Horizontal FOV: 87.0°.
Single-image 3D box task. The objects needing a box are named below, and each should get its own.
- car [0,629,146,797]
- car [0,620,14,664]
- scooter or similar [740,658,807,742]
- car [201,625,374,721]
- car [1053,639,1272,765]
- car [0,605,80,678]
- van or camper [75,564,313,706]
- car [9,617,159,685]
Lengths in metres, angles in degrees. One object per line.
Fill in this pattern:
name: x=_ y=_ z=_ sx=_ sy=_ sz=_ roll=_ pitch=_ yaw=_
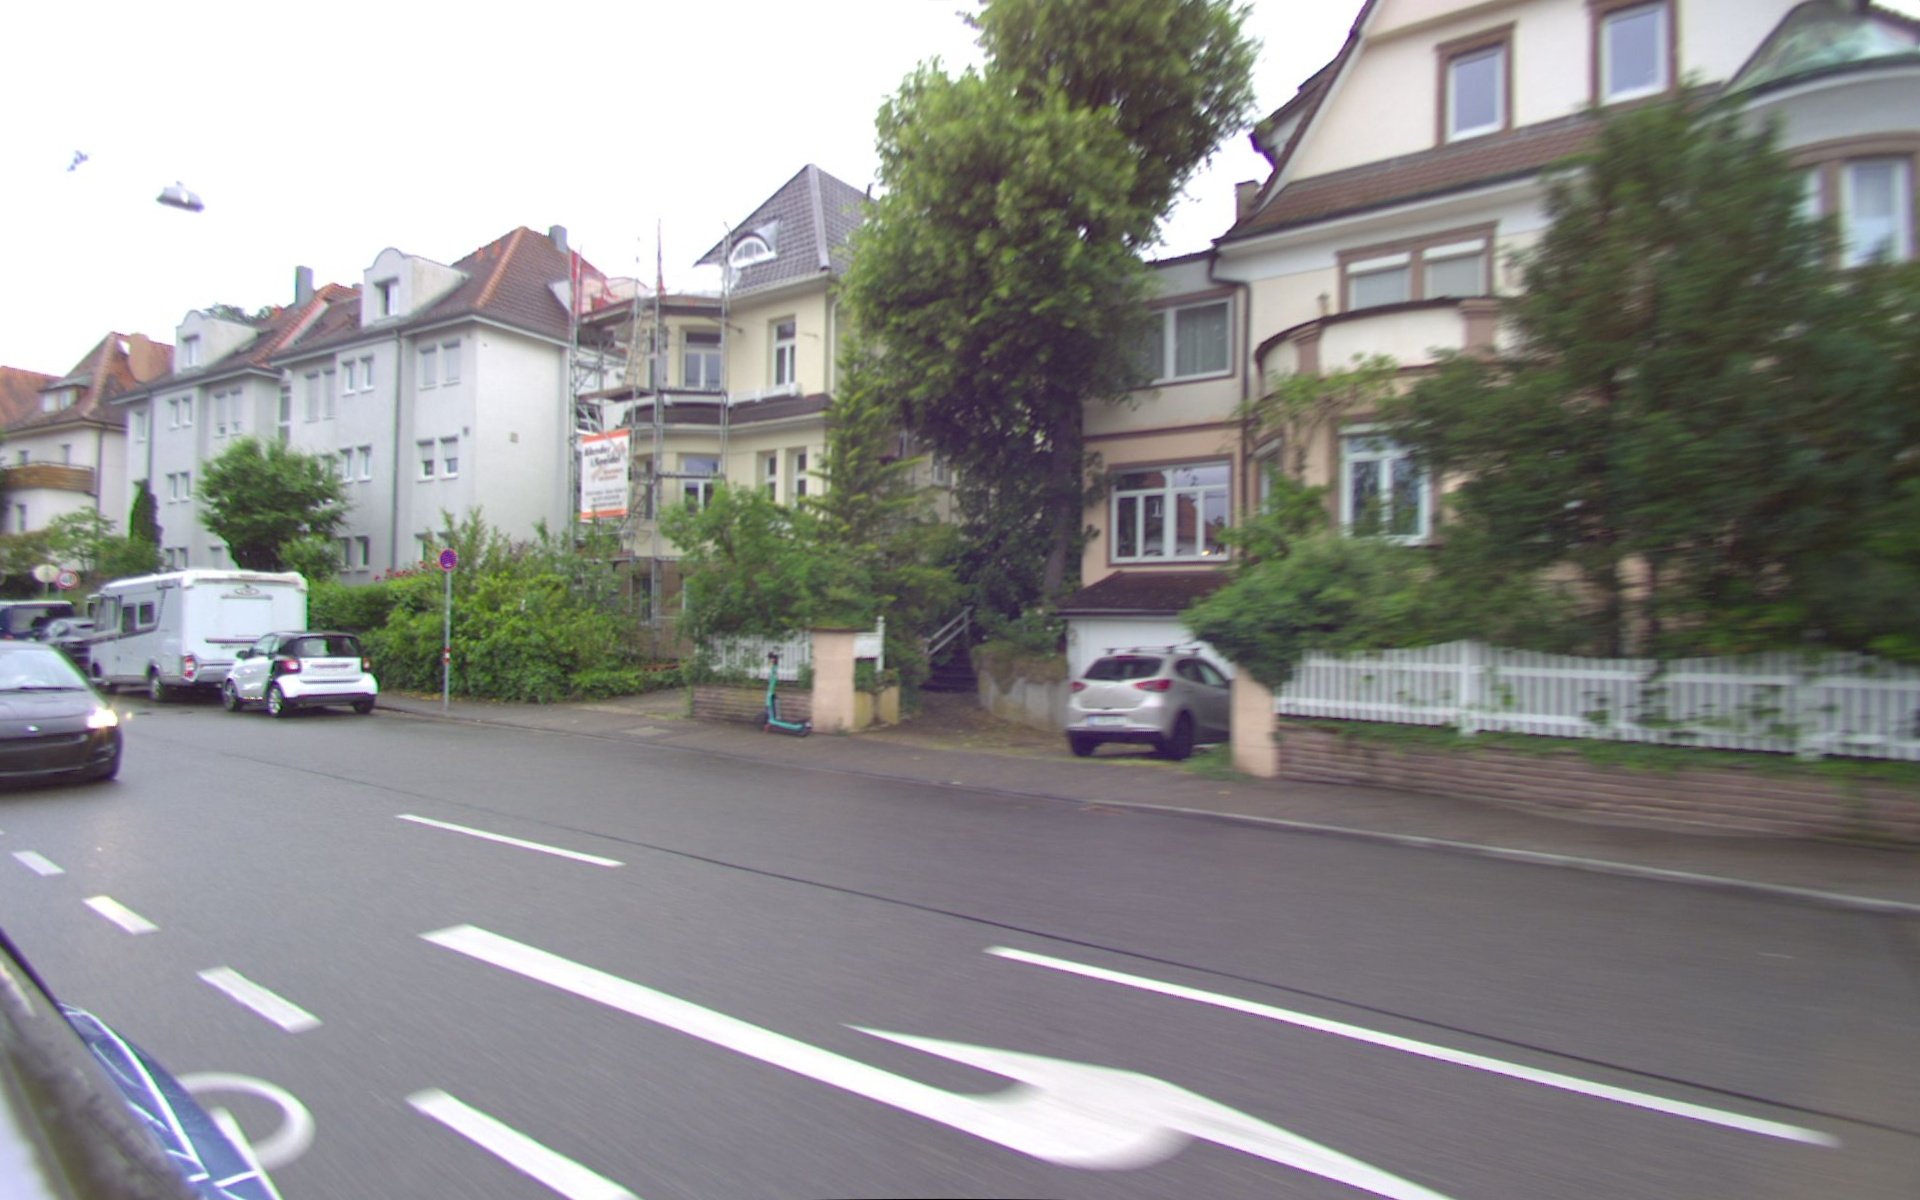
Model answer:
car: x=-10.201 y=1.075 z=10.490 sx=3.674 sy=1.475 sz=1.877 roll=0 pitch=-1 yaw=36
car: x=-32.978 y=1.343 z=33.137 sx=4.492 sy=1.383 sz=1.664 roll=1 pitch=0 yaw=30
scooter or similar: x=-2.854 y=1.504 z=15.453 sx=1.140 sy=1.197 sz=0.397 roll=-1 pitch=-1 yaw=41
car: x=-12.675 y=1.302 z=19.039 sx=3.309 sy=1.607 sz=1.581 roll=0 pitch=-2 yaw=35
car: x=2.994 y=1.409 z=14.522 sx=1.706 sy=1.553 sz=3.547 roll=-4 pitch=-5 yaw=37
car: x=-28.189 y=1.162 z=30.036 sx=4.565 sy=2.003 sz=1.818 roll=0 pitch=0 yaw=31
van or camper: x=-16.951 y=0.714 z=22.274 sx=6.101 sy=2.746 sz=2.328 roll=0 pitch=-2 yaw=35
car: x=-22.786 y=1.266 z=26.264 sx=4.735 sy=1.607 sz=1.816 roll=0 pitch=-2 yaw=35
